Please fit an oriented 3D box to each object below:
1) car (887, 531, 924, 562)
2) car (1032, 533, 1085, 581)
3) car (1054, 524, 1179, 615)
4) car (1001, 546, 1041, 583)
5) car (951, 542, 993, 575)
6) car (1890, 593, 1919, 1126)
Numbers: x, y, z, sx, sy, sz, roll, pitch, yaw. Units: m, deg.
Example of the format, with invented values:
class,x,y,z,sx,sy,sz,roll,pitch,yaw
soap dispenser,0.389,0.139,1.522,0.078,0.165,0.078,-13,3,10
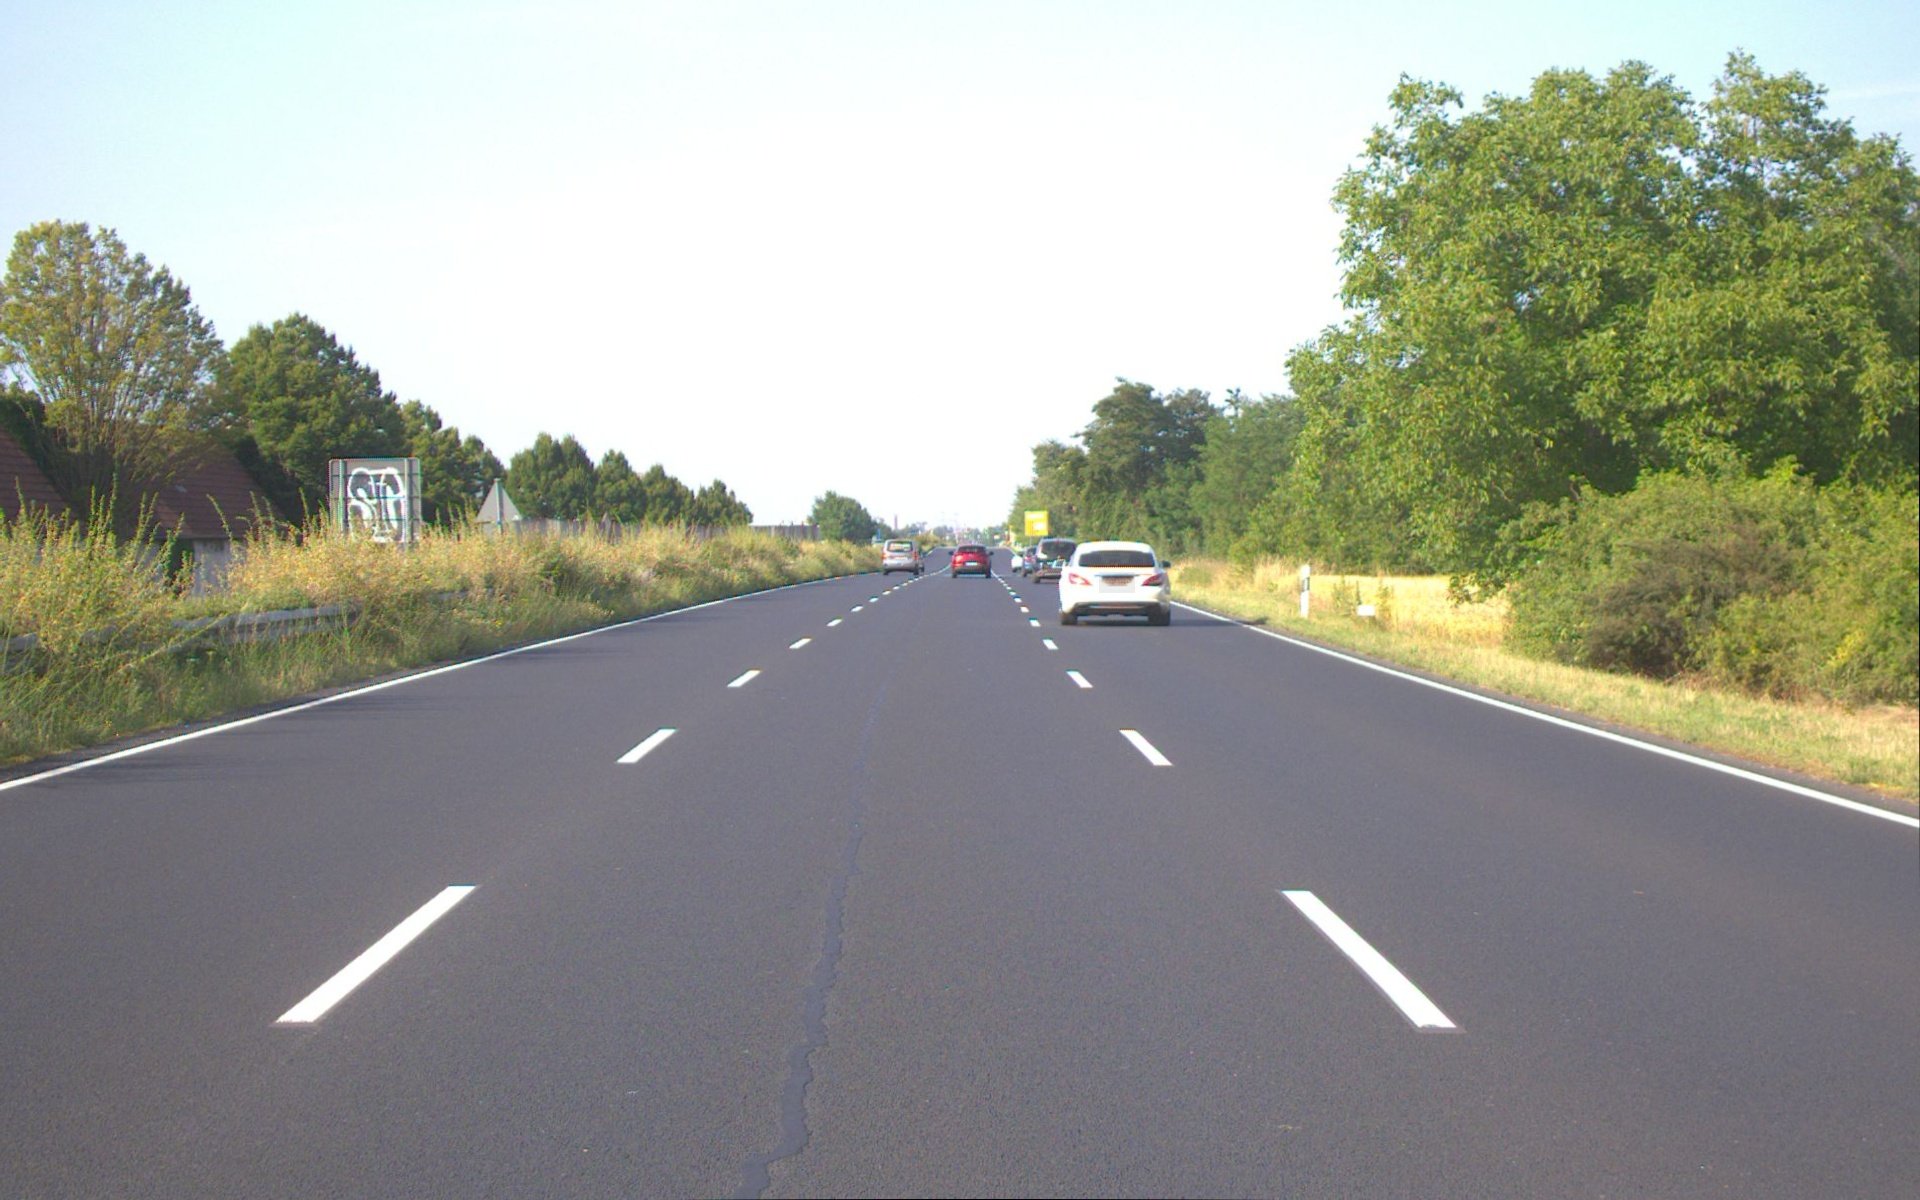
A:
class,x,y,z,sx,sy,sz,roll,pitch,yaw
car,-2.879,-2.816,182.021,1.758,1.612,4.000,1,0,2
car,3.619,-1.561,127.191,1.828,1.722,4.000,1,0,0
car,2.682,-0.521,59.825,1.993,1.511,4.000,1,0,0
car,2.918,-1.690,164.846,1.834,1.711,3.862,1,0,1
car,0.504,-1.847,153.665,1.812,1.431,3.858,1,0,-1
car,3.318,0.689,7.236,1.617,1.382,3.951,1,0,0
